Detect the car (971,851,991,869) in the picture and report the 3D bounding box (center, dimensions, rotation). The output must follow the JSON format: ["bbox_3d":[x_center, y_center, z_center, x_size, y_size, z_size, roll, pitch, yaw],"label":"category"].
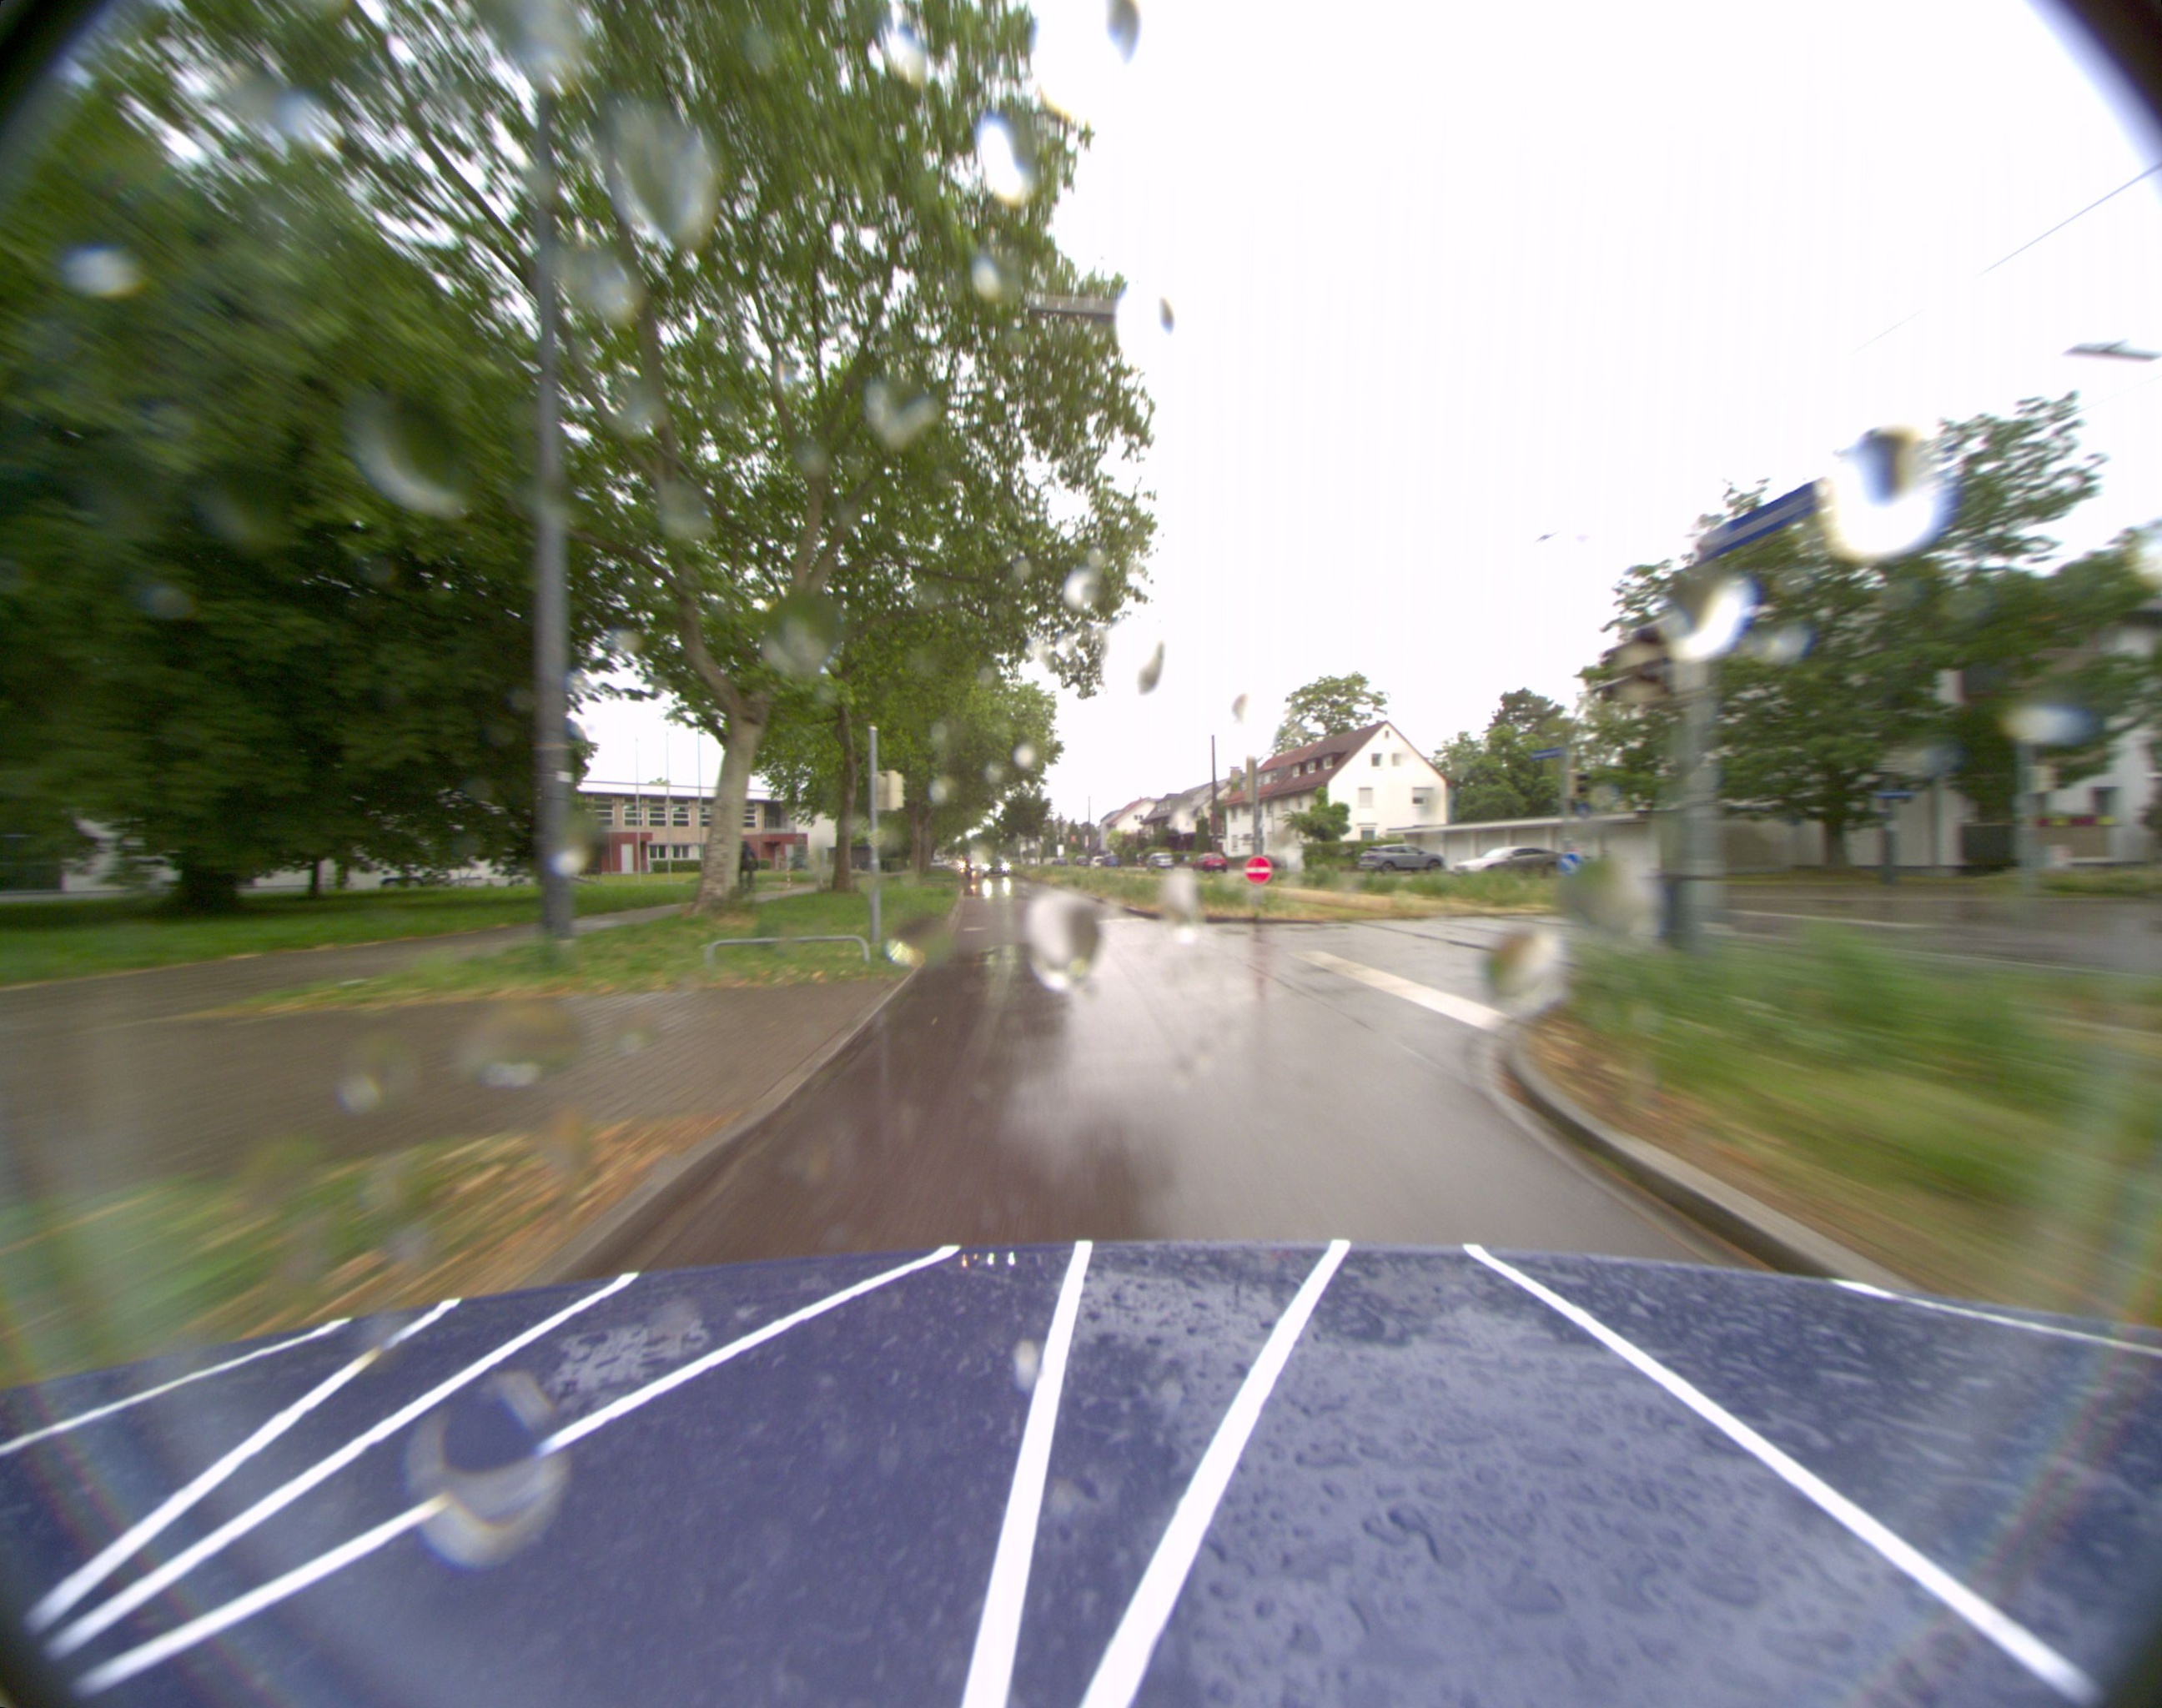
[{"bbox_3d":[-10.499,0.594,79.482,1.769,1.715,3.930,-2,1,-10],"label":"car"}]

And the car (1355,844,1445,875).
[{"bbox_3d":[16.962,0.277,40.450,4.000,1.567,1.891,-1,0,-10],"label":"car"}]

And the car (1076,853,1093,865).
[{"bbox_3d":[0.527,0.743,112.964,1.760,1.604,4.107,-4,1,-9],"label":"car"}]

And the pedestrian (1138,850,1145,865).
[{"bbox_3d":[7.189,0.374,89.776,0.600,1.757,0.868,-2,1,-9],"label":"pedestrian"}]

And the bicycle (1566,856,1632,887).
[{"bbox_3d":[18.100,0.604,26.601,0.483,1.013,1.837,-5,2,-33],"label":"bicycle"}]

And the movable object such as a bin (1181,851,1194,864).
[{"bbox_3d":[11.333,0.337,80.607,1.188,1.290,0.739,-3,1,-8],"label":"movable object such as a bin"}]

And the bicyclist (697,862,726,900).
[{"bbox_3d":[-10.284,0.755,21.159,0.488,1.032,0.591,-1,1,0],"label":"bicyclist"}]

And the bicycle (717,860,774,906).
[{"bbox_3d":[-9.147,0.761,20.808,0.713,1.136,1.971,-1,1,-1],"label":"bicycle"}]

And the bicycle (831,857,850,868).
[{"bbox_3d":[-24.769,0.898,78.158,0.520,1.115,1.942,2,1,34],"label":"bicycle"}]

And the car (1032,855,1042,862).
[{"bbox_3d":[-9.451,0.937,163.287,1.760,1.507,3.851,-4,1,-9],"label":"car"}]

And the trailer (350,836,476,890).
[{"bbox_3d":[-30.211,0.396,34.441,1.887,2.295,4.029,0,0,42],"label":"trailer"}]

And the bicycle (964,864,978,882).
[{"bbox_3d":[-6.528,1.112,45.130,0.659,1.008,2.255,-1,1,-6],"label":"bicycle"}]

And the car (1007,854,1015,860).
[{"bbox_3d":[-19.397,0.942,210.474,1.760,1.507,3.851,-4,1,-9],"label":"car"}]

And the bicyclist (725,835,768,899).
[{"bbox_3d":[-9.154,0.348,20.812,0.713,1.711,0.957,-1,2,-1],"label":"bicyclist"}]

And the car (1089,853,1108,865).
[{"bbox_3d":[2.340,0.686,101.672,1.719,1.520,3.598,-4,1,-10],"label":"car"}]

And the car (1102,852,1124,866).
[{"bbox_3d":[3.940,0.599,94.815,1.850,1.696,4.178,-2,0,-10],"label":"car"}]

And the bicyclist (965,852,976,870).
[{"bbox_3d":[-6.534,0.401,45.065,0.622,1.078,0.624,-1,1,-6],"label":"bicyclist"}]

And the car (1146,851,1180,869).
[{"bbox_3d":[7.652,0.554,71.333,2.000,1.604,4.680,-3,0,-8],"label":"car"}]

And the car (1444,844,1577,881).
[{"bbox_3d":[18.216,0.346,32.322,4.740,1.357,1.847,-2,0,-7],"label":"car"}]

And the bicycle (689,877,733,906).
[{"bbox_3d":[-10.282,1.033,21.162,0.488,0.704,1.457,-1,1,0],"label":"bicycle"}]

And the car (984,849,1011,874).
[{"bbox_3d":[-6.435,0.584,58.403,1.768,1.715,3.931,-3,0,-9],"label":"car"}]

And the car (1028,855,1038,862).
[{"bbox_3d":[-10.558,0.954,167.711,1.760,1.507,3.851,-4,1,-9],"label":"car"}]

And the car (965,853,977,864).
[{"bbox_3d":[-17.306,0.683,119.458,1.769,1.715,3.930,-1,1,-11],"label":"car"}]

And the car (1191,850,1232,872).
[{"bbox_3d":[9.932,0.533,58.045,1.847,1.538,3.970,-4,1,-8],"label":"car"}]

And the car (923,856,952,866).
[{"bbox_3d":[-21.863,1.115,116.109,4.023,1.478,1.635,-1,0,-29],"label":"car"}]

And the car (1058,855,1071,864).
[{"bbox_3d":[-2.831,0.906,130.189,1.760,1.507,3.851,-4,1,-9],"label":"car"}]
